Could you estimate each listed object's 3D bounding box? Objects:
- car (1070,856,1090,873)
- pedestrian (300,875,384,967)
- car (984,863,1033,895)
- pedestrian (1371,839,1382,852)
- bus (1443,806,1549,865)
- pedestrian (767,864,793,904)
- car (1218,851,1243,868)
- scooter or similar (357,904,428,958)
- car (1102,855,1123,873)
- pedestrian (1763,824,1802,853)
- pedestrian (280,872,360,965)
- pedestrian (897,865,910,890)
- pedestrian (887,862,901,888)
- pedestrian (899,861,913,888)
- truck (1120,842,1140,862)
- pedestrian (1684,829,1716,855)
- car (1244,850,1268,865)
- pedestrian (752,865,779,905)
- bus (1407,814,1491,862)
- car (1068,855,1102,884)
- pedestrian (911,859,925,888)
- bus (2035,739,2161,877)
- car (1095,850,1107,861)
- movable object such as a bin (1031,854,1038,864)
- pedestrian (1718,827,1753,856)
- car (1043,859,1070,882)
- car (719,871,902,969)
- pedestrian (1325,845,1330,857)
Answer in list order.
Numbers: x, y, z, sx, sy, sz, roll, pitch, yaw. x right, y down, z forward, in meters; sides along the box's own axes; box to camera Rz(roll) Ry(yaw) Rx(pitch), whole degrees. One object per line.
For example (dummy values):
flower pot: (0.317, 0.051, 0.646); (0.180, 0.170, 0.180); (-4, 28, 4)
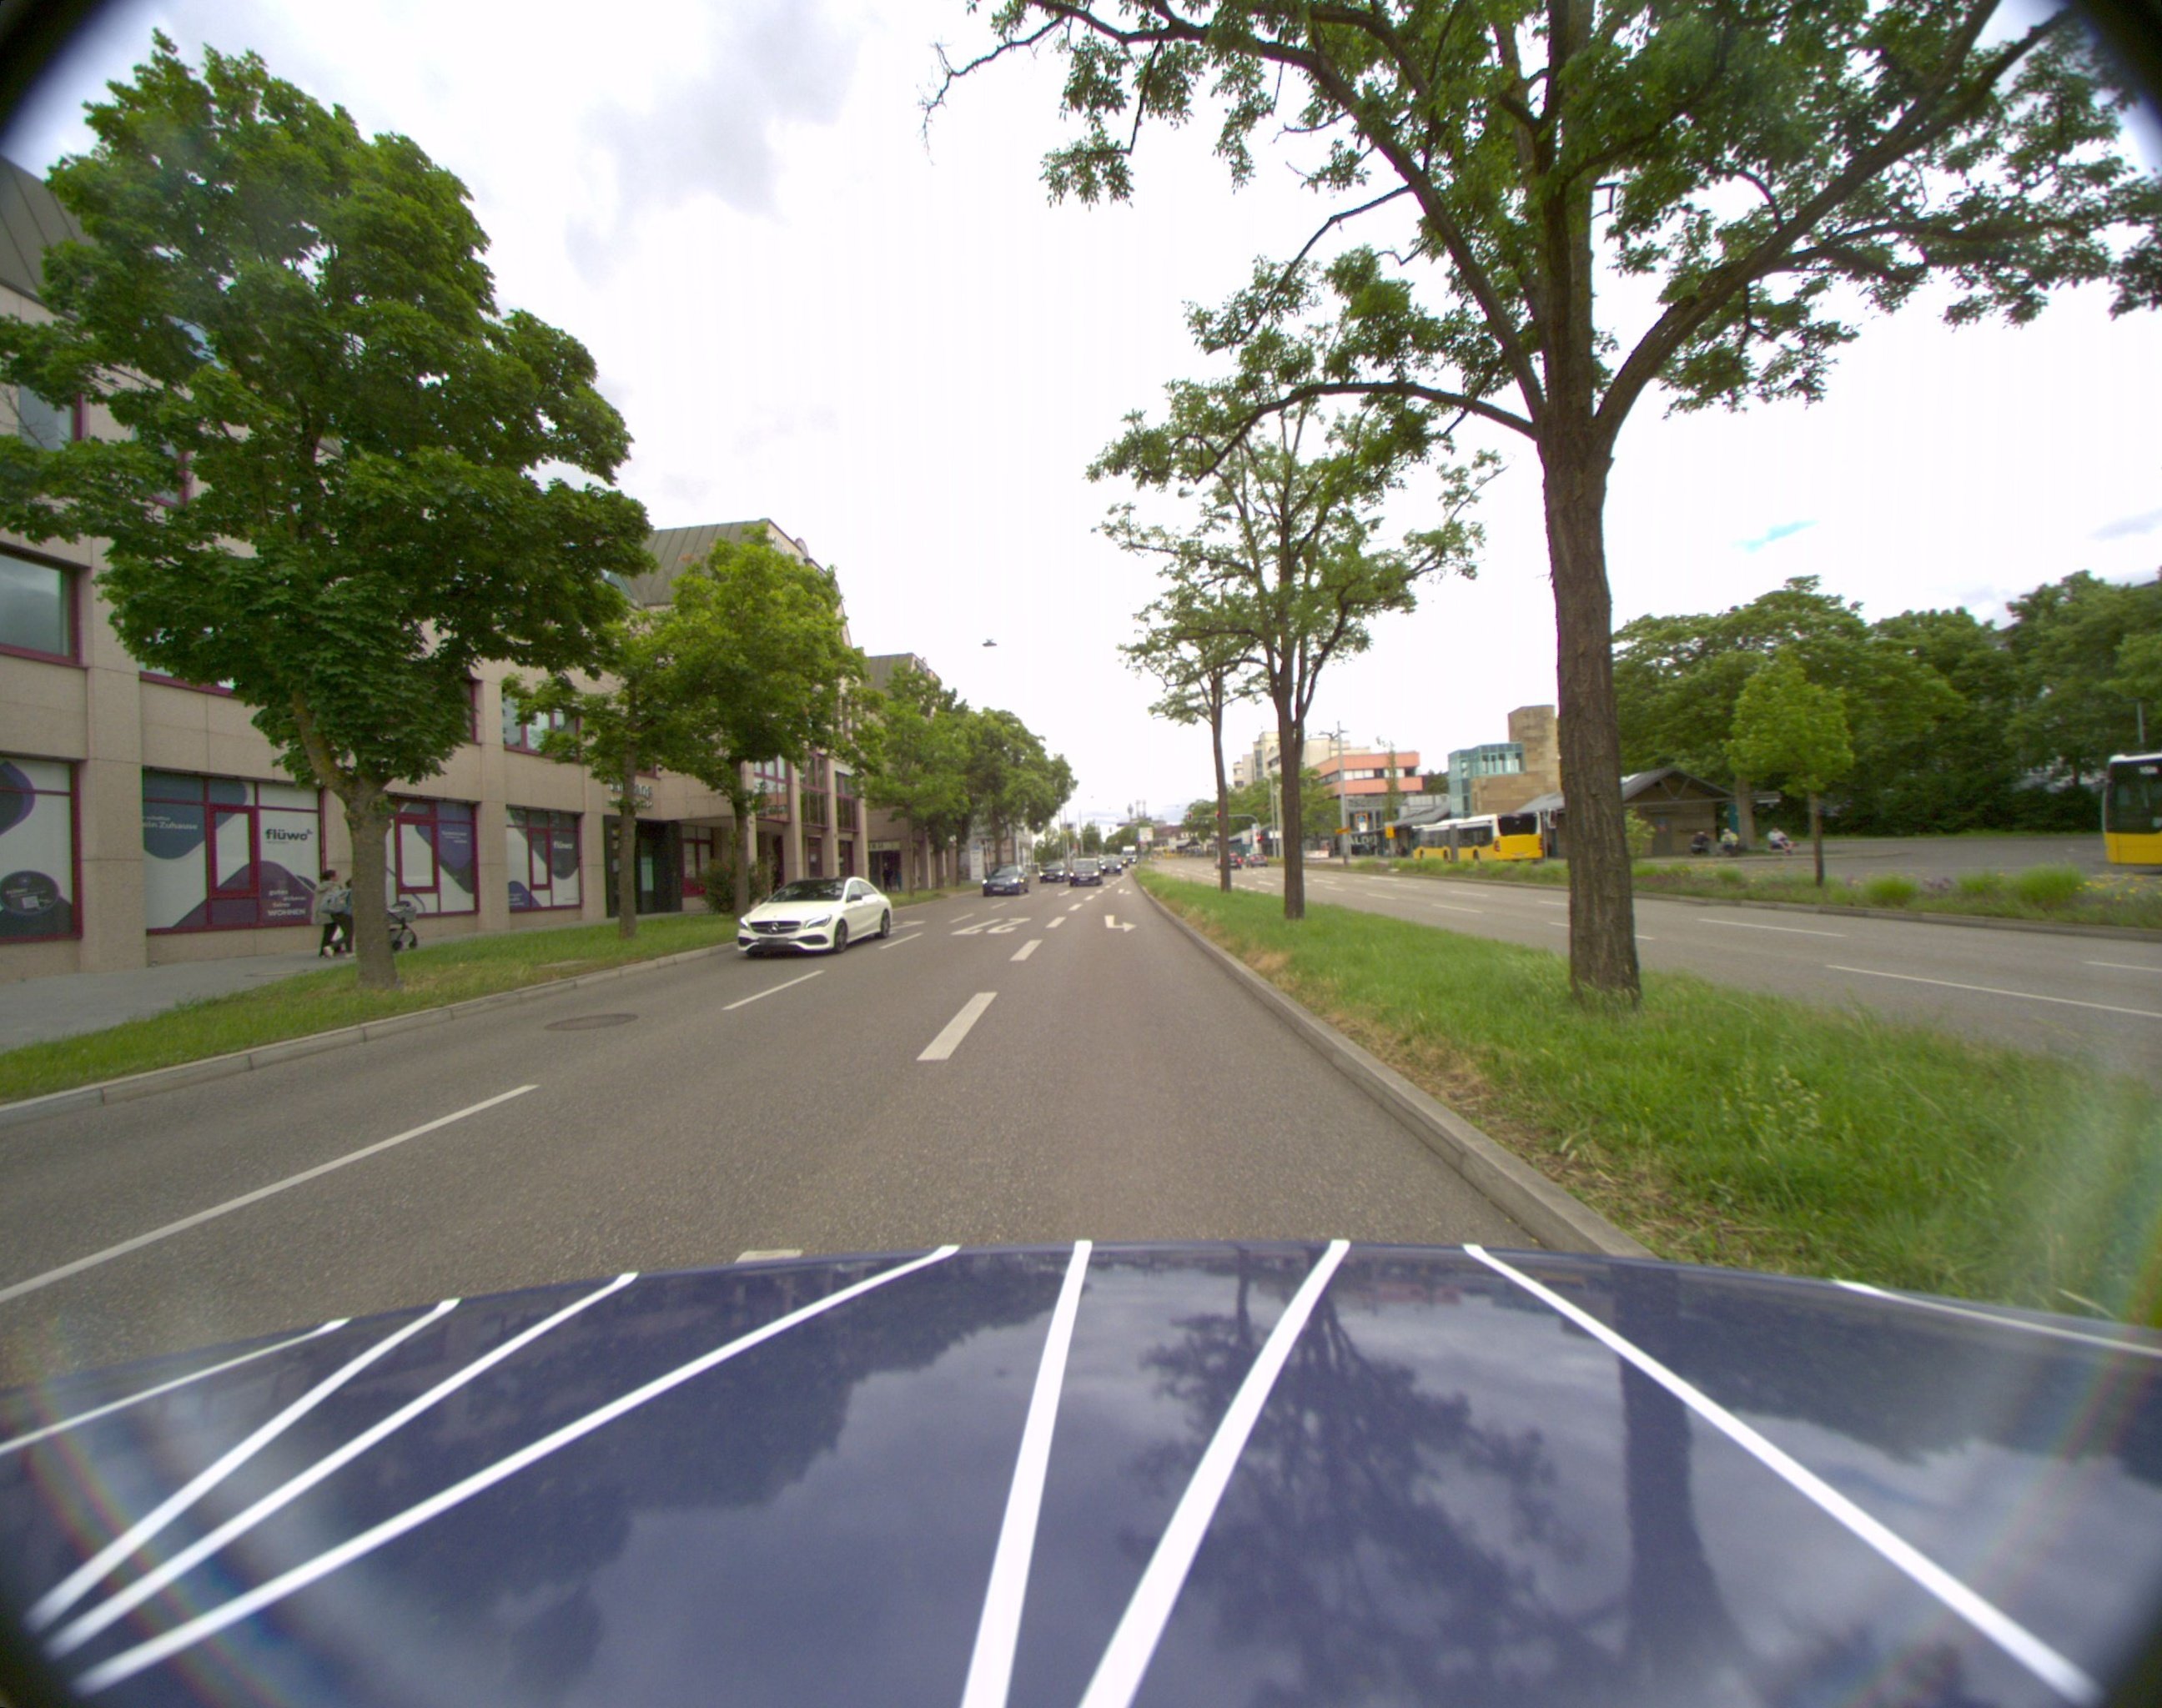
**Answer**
car: (-0.101, 1.086, 77.377); (1.763, 1.625, 4.156); (-2, 0, 3)
pedestrian: (-13.909, 1.233, 14.322); (0.556, 1.643, 0.962); (-1, 0, 7)
car: (-3.484, 1.170, 37.270); (1.972, 1.430, 4.312); (0, 0, -1)
pedestrian: (34.119, -1.017, 87.621); (0.993, 1.452, 0.590); (-3, 0, -29)
bus: (25.772, -1.048, 47.824); (2.814, 3.113, 9.306); (-5, 0, 10)
pedestrian: (-12.939, 1.276, 32.705); (0.596, 1.695, 0.970); (-2, 0, 6)
car: (14.248, 0.506, 72.545); (1.662, 1.499, 3.769); (-3, 0, 2)
scooter or similar: (-13.780, 1.536, 15.227); (0.585, 0.988, 0.847); (-1, 0, 7)
car: (2.819, 0.879, 68.447); (1.763, 1.531, 4.048); (-2, 0, 3)
pedestrian: (31.672, -0.693, 34.316); (0.895, 1.247, 0.858); (-3, 0, 2)
pedestrian: (-14.526, 1.208, 14.523); (0.568, 1.690, 0.829); (-3, 1, 5)
pedestrian: (-11.119, 1.462, 47.594); (0.562, 1.541, 0.544); (-1, 1, 5)
pedestrian: (-12.176, 1.377, 49.476); (0.659, 1.681, 0.843); (-1, 1, 5)
pedestrian: (-11.396, 1.321, 49.498); (0.659, 1.681, 0.843); (-1, 1, 5)
truck: (8.785, -0.391, 137.271); (3.118, 3.209, 6.524); (-4, 0, 0)
pedestrian: (30.250, -0.587, 37.127); (0.859, 1.247, 0.894); (-3, 0, -27)
car: (18.050, 0.340, 78.530); (1.819, 1.499, 4.001); (-2, 0, 6)
pedestrian: (-13.646, 1.328, 32.893); (0.596, 1.695, 0.970); (-2, 0, 6)
bus: (27.229, -1.098, 56.752); (2.781, 3.113, 9.444); (-4, 0, 9)
car: (0.220, 0.926, 46.114); (1.972, 1.630, 4.312); (-1, 0, -1)
pedestrian: (-10.581, 1.261, 49.428); (0.659, 1.815, 0.843); (-1, 1, 5)
bus: (25.807, -1.195, 14.090); (3.090, 3.144, 10.740); (-6, 0, 5)
car: (3.596, 0.272, 137.746); (2.020, 1.759, 4.001); (-3, 0, 3)
movable object such as a bin: (-5.372, 0.609, 87.823); (0.627, 1.097, 0.710); (-3, 0, 5)
pedestrian: (30.126, -0.556, 34.977); (0.859, 1.283, 0.894); (-3, 0, -22)
car: (-1.758, 1.155, 55.287); (1.768, 1.440, 4.420); (-3, 0, 0)
car: (-5.218, 1.195, 15.433); (1.798, 1.464, 4.700); (-3, 0, 2)
pedestrian: (32.779, -0.437, 100.911); (0.529, 1.539, 0.754); (-3, 0, 17)
